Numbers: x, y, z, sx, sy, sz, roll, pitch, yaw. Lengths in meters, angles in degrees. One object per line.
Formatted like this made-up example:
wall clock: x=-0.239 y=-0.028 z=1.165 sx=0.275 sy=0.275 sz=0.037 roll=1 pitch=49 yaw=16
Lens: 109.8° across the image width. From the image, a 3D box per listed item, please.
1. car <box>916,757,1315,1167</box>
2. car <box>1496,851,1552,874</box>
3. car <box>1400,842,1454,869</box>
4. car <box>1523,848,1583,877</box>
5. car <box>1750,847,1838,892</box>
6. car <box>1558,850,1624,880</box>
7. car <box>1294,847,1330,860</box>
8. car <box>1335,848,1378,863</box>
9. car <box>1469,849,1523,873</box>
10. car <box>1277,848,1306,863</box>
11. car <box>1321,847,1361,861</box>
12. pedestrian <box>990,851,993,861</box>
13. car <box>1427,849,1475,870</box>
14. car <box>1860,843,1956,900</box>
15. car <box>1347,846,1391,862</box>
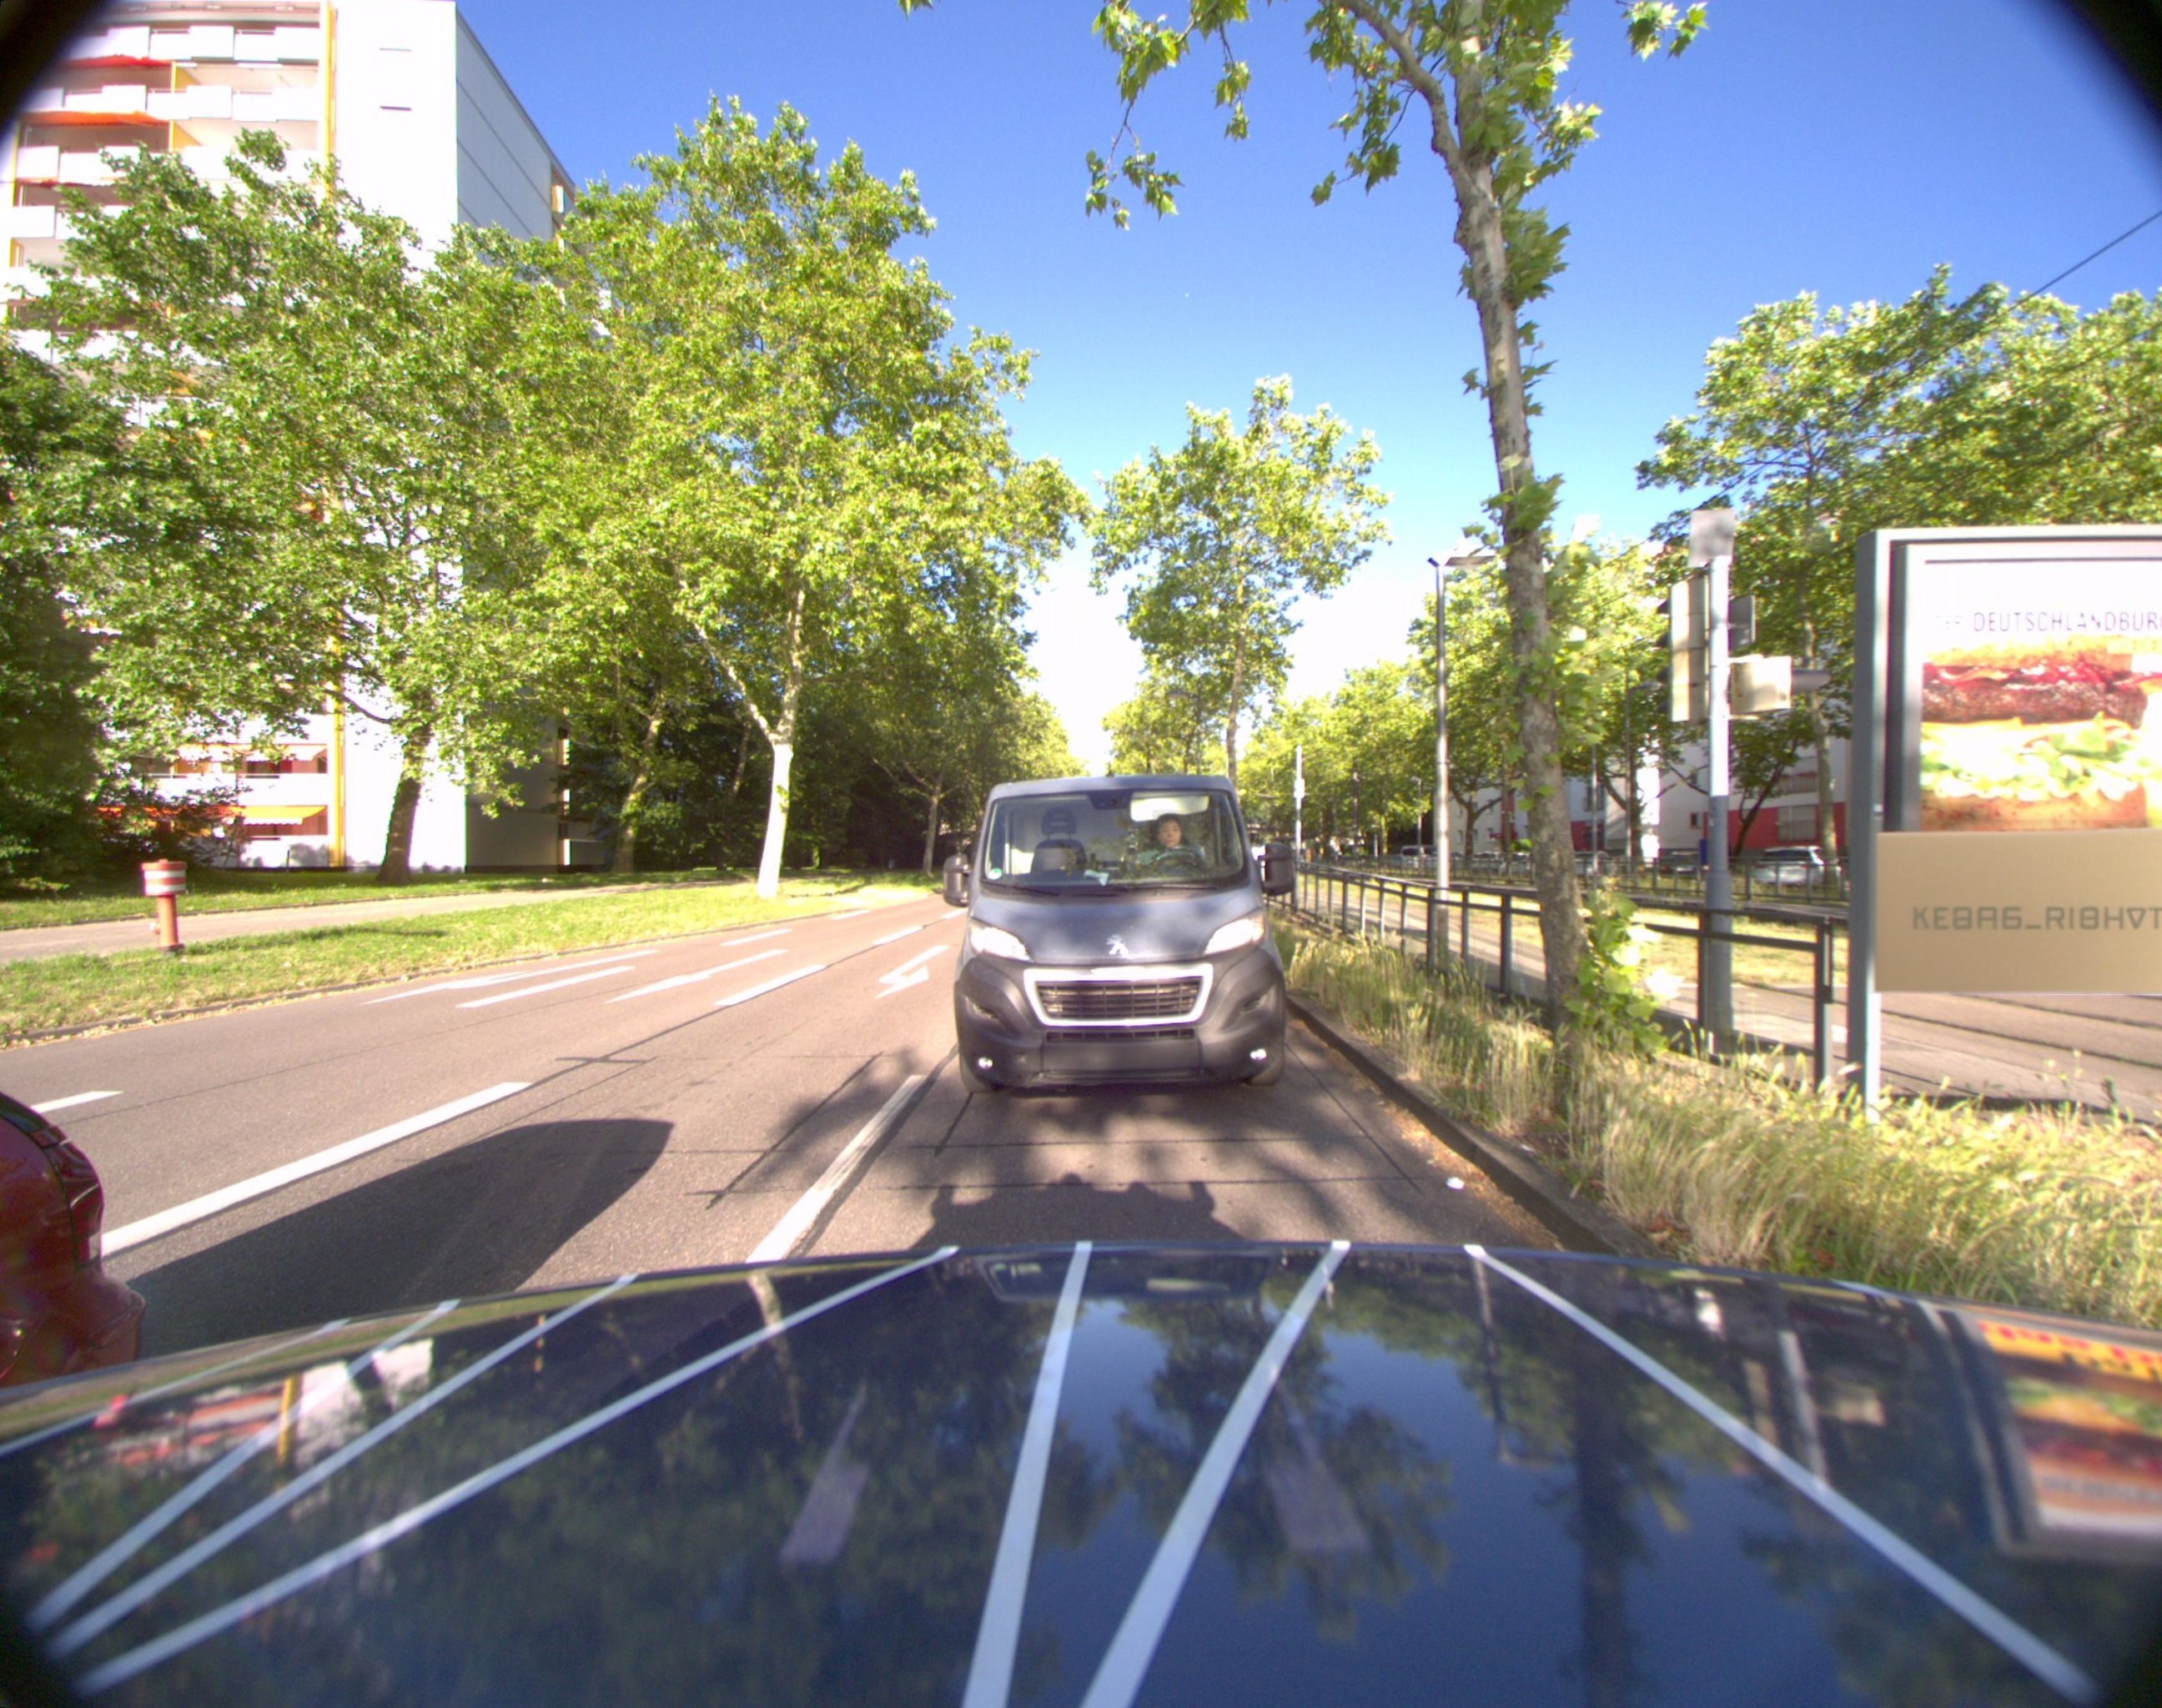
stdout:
car: x=0.217 y=0.556 z=6.538 sx=2.040 sy=2.102 sz=5.113 roll=-1 pitch=0 yaw=1
car: x=26.198 y=0.485 z=44.947 sx=3.689 sy=1.234 sz=1.645 roll=-1 pitch=1 yaw=-39
car: x=25.959 y=0.089 z=56.978 sx=4.376 sy=1.873 sz=1.919 roll=-1 pitch=1 yaw=-39
car: x=25.809 y=0.433 z=41.505 sx=3.689 sy=1.440 sz=1.645 roll=-1 pitch=1 yaw=-39
car: x=25.055 y=0.497 z=26.672 sx=3.689 sy=1.425 sz=1.683 roll=-1 pitch=1 yaw=-38
car: x=25.329 y=0.504 z=37.677 sx=3.689 sy=1.384 sz=1.645 roll=-1 pitch=1 yaw=-38
car: x=27.200 y=-0.054 z=89.415 sx=4.376 sy=1.367 sz=1.919 roll=-1 pitch=1 yaw=-39
car: x=26.587 y=0.104 z=73.264 sx=4.376 sy=1.367 sz=1.919 roll=-1 pitch=1 yaw=-39
car: x=25.955 y=0.419 z=47.482 sx=3.689 sy=1.440 sz=1.645 roll=-1 pitch=1 yaw=-39
car: x=20.314 y=0.144 z=73.519 sx=1.825 sy=1.412 sz=3.758 roll=-1 pitch=0 yaw=1
car: x=27.241 y=0.029 z=79.561 sx=4.376 sy=1.367 sz=1.919 roll=-1 pitch=1 yaw=-39
pedestrian: x=-13.305 y=0.277 z=112.930 sx=0.398 sy=1.454 sz=0.417 roll=-1 pitch=1 yaw=6
car: x=26.244 y=0.351 z=53.885 sx=3.689 sy=1.388 sz=1.645 roll=-1 pitch=1 yaw=-39
car: x=25.016 y=0.464 z=22.947 sx=3.689 sy=1.558 sz=1.683 roll=-1 pitch=1 yaw=-38
car: x=26.632 y=-0.002 z=70.215 sx=4.376 sy=1.367 sz=1.919 roll=-1 pitch=1 yaw=-39
